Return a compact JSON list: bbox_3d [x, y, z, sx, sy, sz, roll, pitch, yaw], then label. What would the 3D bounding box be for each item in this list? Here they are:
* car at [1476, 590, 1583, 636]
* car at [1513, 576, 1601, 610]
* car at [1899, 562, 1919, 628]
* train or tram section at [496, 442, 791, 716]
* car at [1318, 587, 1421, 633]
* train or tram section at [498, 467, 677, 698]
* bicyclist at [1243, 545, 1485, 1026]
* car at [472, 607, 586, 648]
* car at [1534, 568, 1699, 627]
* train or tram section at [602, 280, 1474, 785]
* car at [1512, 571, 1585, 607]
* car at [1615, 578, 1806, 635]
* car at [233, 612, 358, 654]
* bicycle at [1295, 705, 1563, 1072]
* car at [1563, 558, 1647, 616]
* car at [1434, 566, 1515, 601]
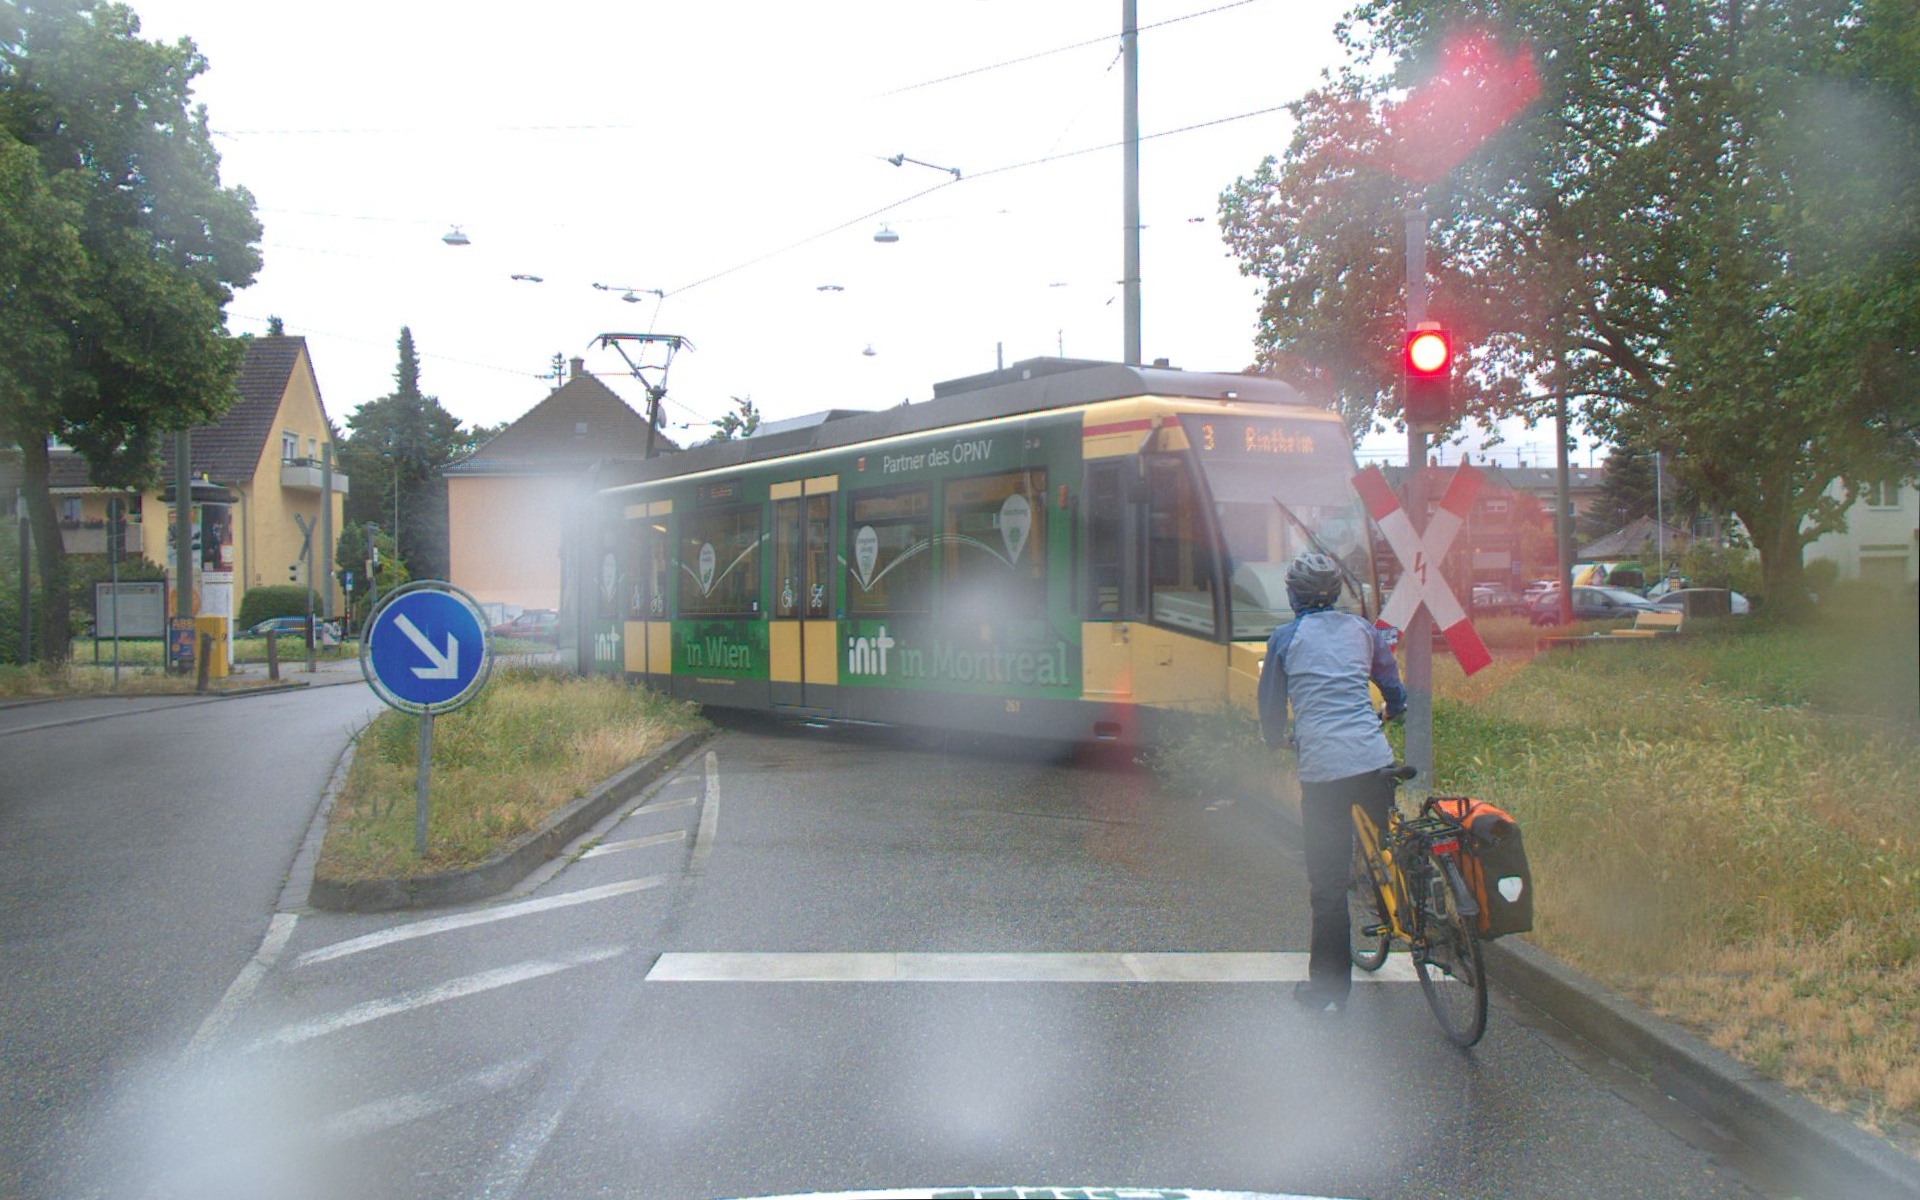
[{"bbox_3d":[22.606,0.511,65.737,3.609,1.731,1.890,1,-1,0],"label":"car"},{"bbox_3d":[31.060,-0.354,86.069,3.905,1.668,1.846,1,0,-1],"label":"car"},{"bbox_3d":[28.137,-0.112,45.524,3.703,1.829,1.798,1,-1,43],"label":"car"},{"bbox_3d":[-4.840,-0.291,24.642,2.734,3.615,4.933,-1,0,-32],"label":"train or tram section"},{"bbox_3d":[16.149,0.397,65.336,3.609,1.731,1.890,1,-1,0],"label":"car"},{"bbox_3d":[-7.148,-0.239,32.658,2.711,3.615,13.095,-1,0,-11],"label":"train or tram section"},{"bbox_3d":[1.473,0.646,6.156,0.653,1.654,0.852,1,-1,-2],"label":"bicyclist"},{"bbox_3d":[-16.189,1.023,62.320,3.911,1.482,1.831,1,0,-7],"label":"car"},{"bbox_3d":[18.015,-0.072,45.492,3.848,1.522,1.798,1,-1,43],"label":"car"},{"bbox_3d":[-0.298,-0.405,17.662,2.736,3.615,12.061,-1,-1,-33],"label":"train or tram section"},{"bbox_3d":[34.229,-0.635,96.290,1.963,2.049,3.978,1,0,-19],"label":"car"},{"bbox_3d":[18.468,0.152,40.855,3.902,1.308,1.847,1,0,6],"label":"car"},{"bbox_3d":[-24.444,1.207,60.948,3.911,1.482,1.831,1,0,-7],"label":"car"},{"bbox_3d":[1.652,0.961,6.069,0.437,1.022,1.727,-1,0,-2],"label":"bicycle"},{"bbox_3d":[28.820,-0.562,74.022,1.953,2.485,4.352,1,0,-2],"label":"car"},{"bbox_3d":[28.539,-0.902,91.863,3.904,1.822,2.000,1,0,2],"label":"car"}]
